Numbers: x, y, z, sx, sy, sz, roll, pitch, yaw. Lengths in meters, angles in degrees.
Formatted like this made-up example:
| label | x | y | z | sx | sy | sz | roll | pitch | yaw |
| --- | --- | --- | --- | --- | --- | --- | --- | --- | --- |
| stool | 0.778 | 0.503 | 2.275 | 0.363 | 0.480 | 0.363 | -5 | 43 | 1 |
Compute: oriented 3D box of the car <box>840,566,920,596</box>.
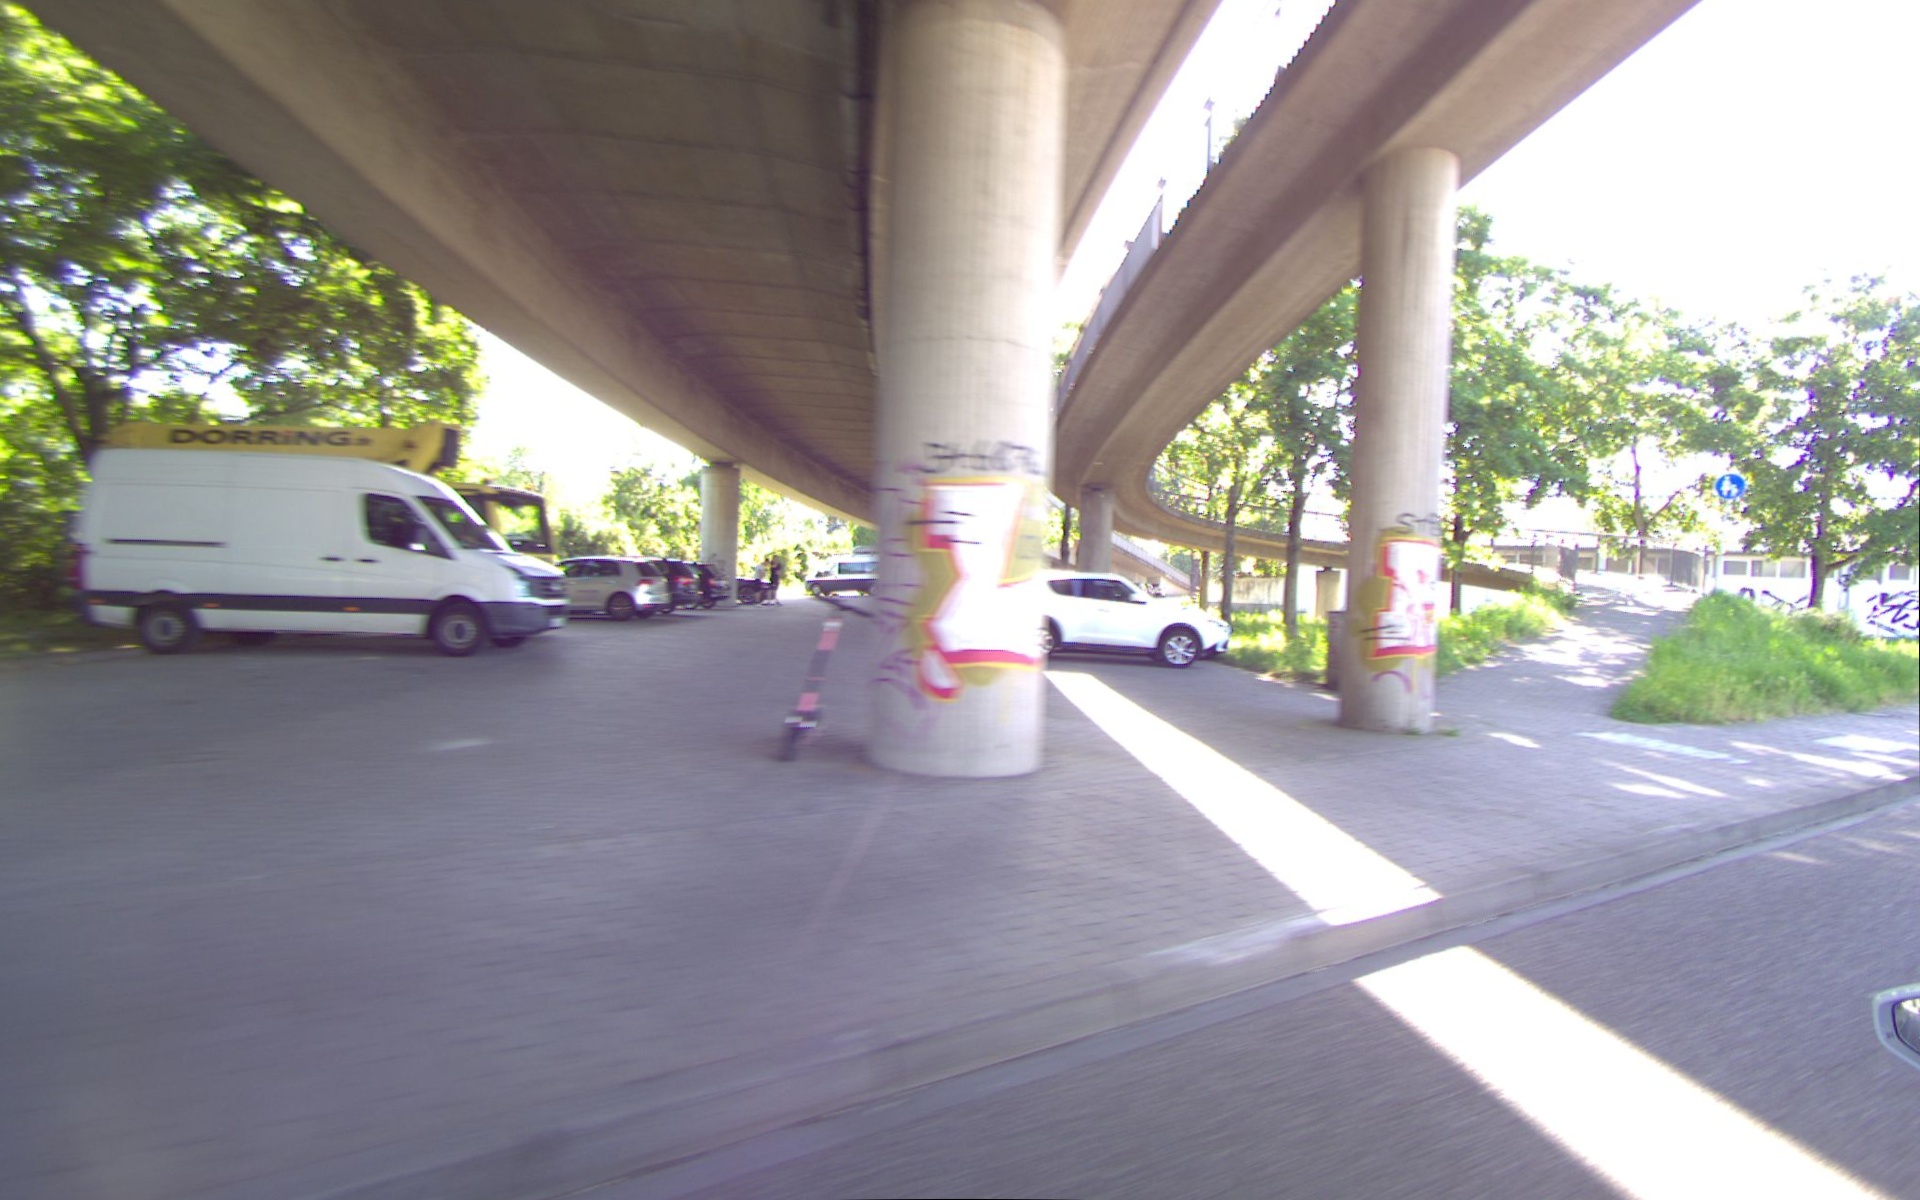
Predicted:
| label | x | y | z | sx | sy | sz | roll | pitch | yaw |
| --- | --- | --- | --- | --- | --- | --- | --- | --- | --- |
| car | -4.786 | -1.133 | 60.555 | 4.393 | 1.666 | 2.001 | 2 | 1 | 9 |

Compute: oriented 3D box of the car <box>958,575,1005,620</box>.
| label | x | y | z | sx | sy | sz | roll | pitch | yaw |
| --- | --- | --- | --- | --- | --- | --- | --- | --- | --- |
| car | 0.843 | -0.123 | 38.238 | 1.650 | 1.573 | 4.299 | 2 | 1 | 2 |

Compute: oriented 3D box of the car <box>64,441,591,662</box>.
| label | x | y | z | sx | sy | sz | roll | pitch | yaw |
| --- | --- | --- | --- | --- | --- | --- | --- | --- | --- |
| car | -8.416 | -0.609 | 13.867 | 5.895 | 2.718 | 1.945 | 1 | 1 | -5 |

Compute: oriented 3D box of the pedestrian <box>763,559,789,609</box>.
| label | x | y | z | sx | sy | sz | roll | pitch | yaw |
| --- | --- | --- | --- | --- | --- | --- | --- | --- | --- |
| pedestrian | -6.390 | -0.564 | 34.860 | 0.700 | 1.685 | 0.665 | 1 | 1 | -23 |

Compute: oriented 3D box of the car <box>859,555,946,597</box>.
| label | x | y | z | sx | sy | sz | roll | pitch | yaw |
| --- | --- | --- | --- | --- | --- | --- | --- | --- | --- |
| car | -3.675 | -1.545 | 64.530 | 5.098 | 2.507 | 2.001 | 2 | 1 | 13 |

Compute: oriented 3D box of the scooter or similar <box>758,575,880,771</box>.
| label | x | y | z | sx | sy | sz | roll | pitch | yaw |
| --- | --- | --- | --- | --- | --- | --- | --- | --- | --- |
| scooter or similar | -1.023 | 0.491 | 7.541 | 0.567 | 1.318 | 1.309 | 2 | 1 | 6 |

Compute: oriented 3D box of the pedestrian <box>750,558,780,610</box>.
| label | x | y | z | sx | sy | sz | roll | pitch | yaw |
| --- | --- | --- | --- | --- | --- | --- | --- | --- | --- |
| pedestrian | -6.550 | -0.537 | 33.786 | 0.698 | 1.685 | 0.666 | 3 | 2 | 35 |

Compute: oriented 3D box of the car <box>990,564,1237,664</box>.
| label | x | y | z | sx | sy | sz | roll | pitch | yaw |
| --- | --- | --- | --- | --- | --- | --- | --- | --- | --- |
| car | 2.672 | 0.267 | 18.258 | 4.197 | 1.663 | 1.870 | 1 | -2 | 0 |

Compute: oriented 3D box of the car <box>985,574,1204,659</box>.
| label | x | y | z | sx | sy | sz | roll | pitch | yaw |
| --- | --- | --- | --- | --- | --- | --- | --- | --- | --- |
| car | 2.722 | 0.325 | 20.890 | 4.216 | 1.573 | 1.682 | 2 | 1 | -4 |

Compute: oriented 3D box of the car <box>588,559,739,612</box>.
| label | x | y | z | sx | sy | sz | roll | pitch | yaw |
| --- | --- | --- | --- | --- | --- | --- | --- | --- | --- |
| car | -9.213 | -0.464 | 31.458 | 4.166 | 1.461 | 1.740 | 2 | 1 | 1 |

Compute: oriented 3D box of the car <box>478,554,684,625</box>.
| label | x | y | z | sx | sy | sz | roll | pitch | yaw |
| --- | --- | --- | --- | --- | --- | --- | --- | --- | --- |
| car | -8.869 | -0.251 | 23.724 | 4.166 | 1.461 | 1.740 | 2 | 1 | 1 |

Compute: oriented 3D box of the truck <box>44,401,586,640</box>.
| label | x | y | z | sx | sy | sz | roll | pitch | yaw |
| --- | --- | --- | --- | --- | --- | --- | --- | --- | --- |
| truck | -10.894 | -1.308 | 17.412 | 7.809 | 3.599 | 2.483 | 2 | 1 | 2 |

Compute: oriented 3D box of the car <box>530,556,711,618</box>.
| label | x | y | z | sx | sy | sz | roll | pitch | yaw |
| --- | --- | --- | --- | --- | --- | --- | --- | --- | --- |
| car | -8.928 | -0.344 | 26.637 | 4.166 | 1.461 | 1.740 | 2 | 1 | 1 |

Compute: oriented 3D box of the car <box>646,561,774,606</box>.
| label | x | y | z | sx | sy | sz | roll | pitch | yaw |
| --- | --- | --- | --- | --- | --- | --- | --- | --- | --- |
| car | -9.130 | -0.619 | 36.814 | 4.165 | 1.461 | 1.741 | 2 | 1 | 4 |

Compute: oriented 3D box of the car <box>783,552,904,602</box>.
| label | x | y | z | sx | sy | sz | roll | pitch | yaw |
| --- | --- | --- | --- | --- | --- | --- | --- | --- | --- |
| car | -6.455 | -1.263 | 55.800 | 6.275 | 2.540 | 2.001 | 2 | 1 | 9 |
